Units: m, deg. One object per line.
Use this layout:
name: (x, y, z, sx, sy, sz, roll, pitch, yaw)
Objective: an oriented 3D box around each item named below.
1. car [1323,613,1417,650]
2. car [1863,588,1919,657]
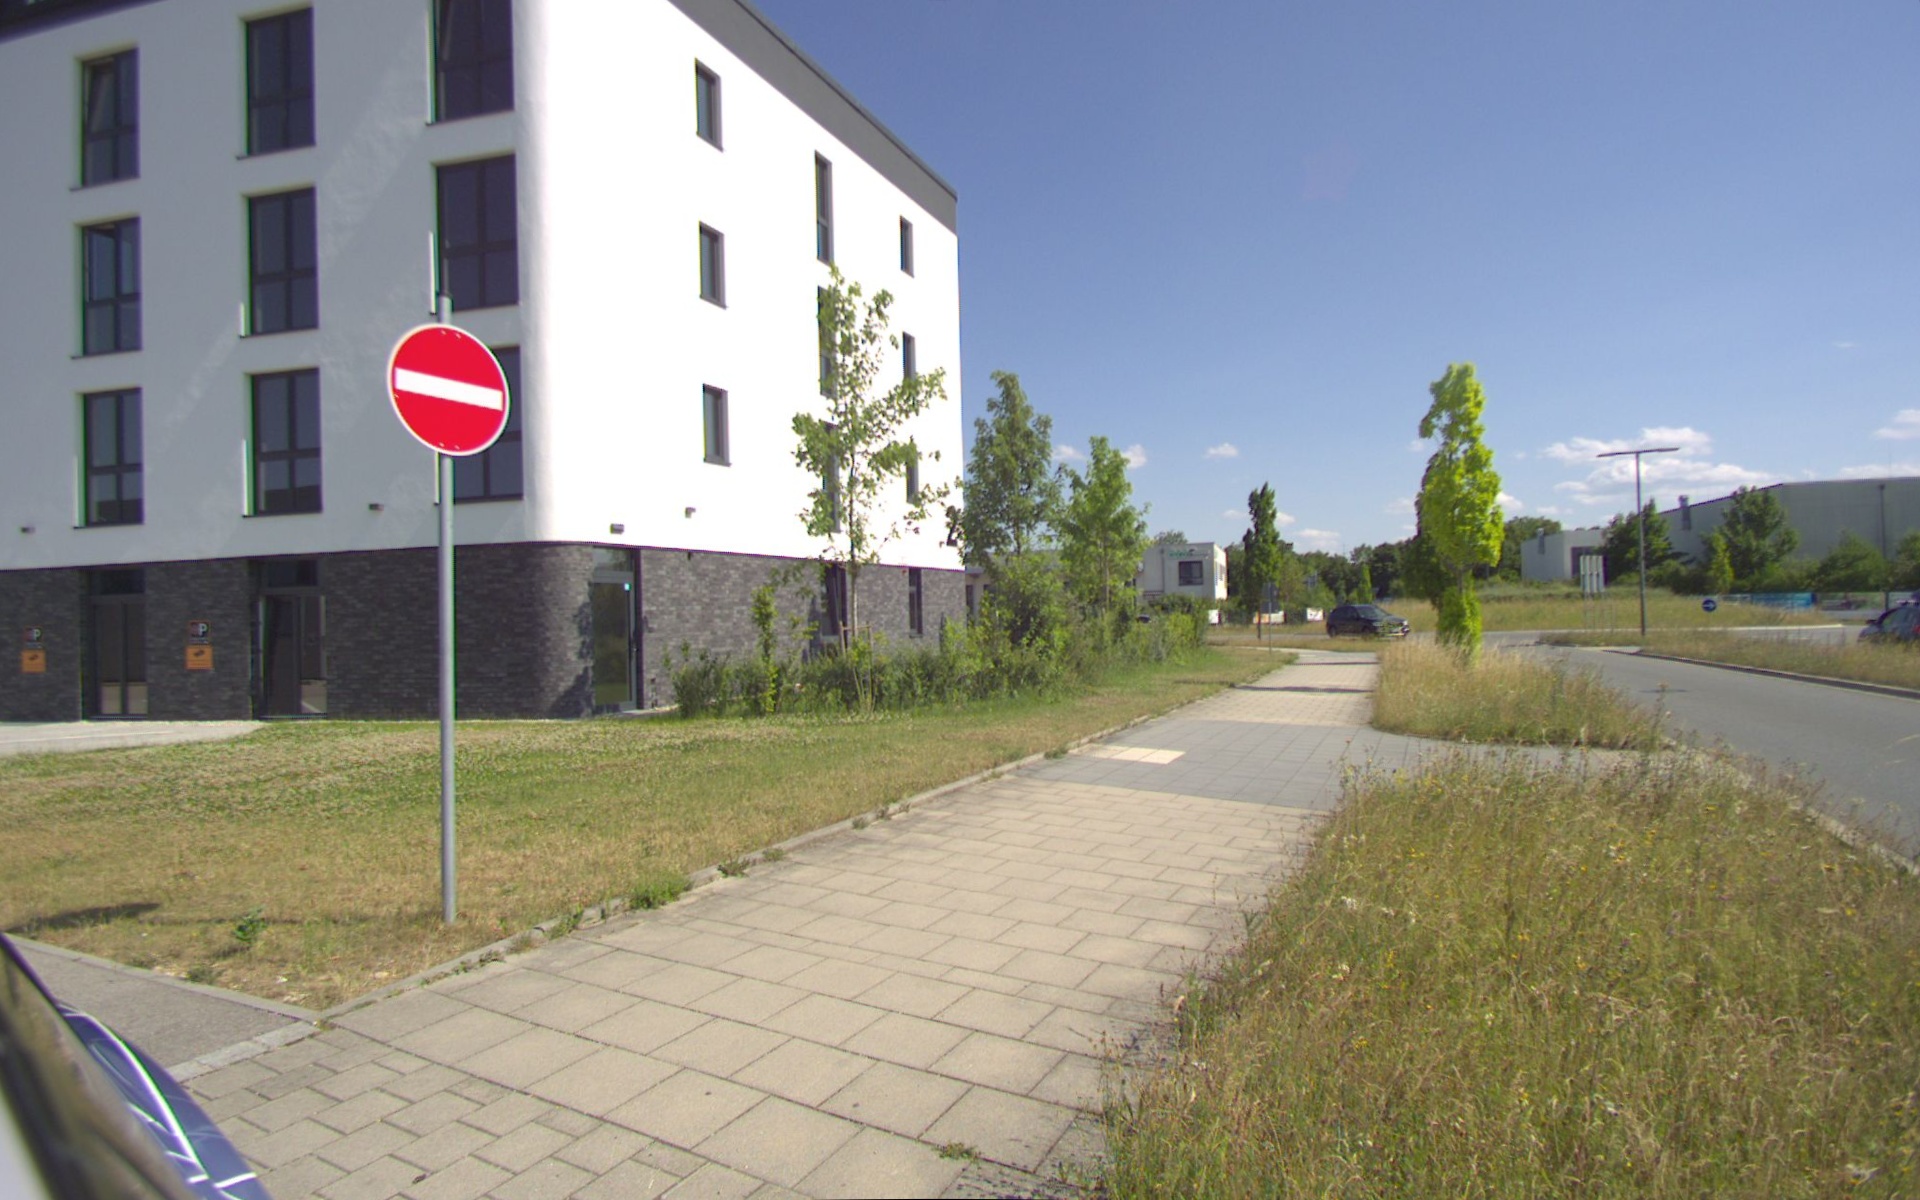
car: (19.115, 1.488, 47.343, 1.811, 1.586, 4.012, -2, -2, -18)
car: (23.154, 0.468, 23.913, 1.994, 1.528, 4.151, -2, 0, 32)
